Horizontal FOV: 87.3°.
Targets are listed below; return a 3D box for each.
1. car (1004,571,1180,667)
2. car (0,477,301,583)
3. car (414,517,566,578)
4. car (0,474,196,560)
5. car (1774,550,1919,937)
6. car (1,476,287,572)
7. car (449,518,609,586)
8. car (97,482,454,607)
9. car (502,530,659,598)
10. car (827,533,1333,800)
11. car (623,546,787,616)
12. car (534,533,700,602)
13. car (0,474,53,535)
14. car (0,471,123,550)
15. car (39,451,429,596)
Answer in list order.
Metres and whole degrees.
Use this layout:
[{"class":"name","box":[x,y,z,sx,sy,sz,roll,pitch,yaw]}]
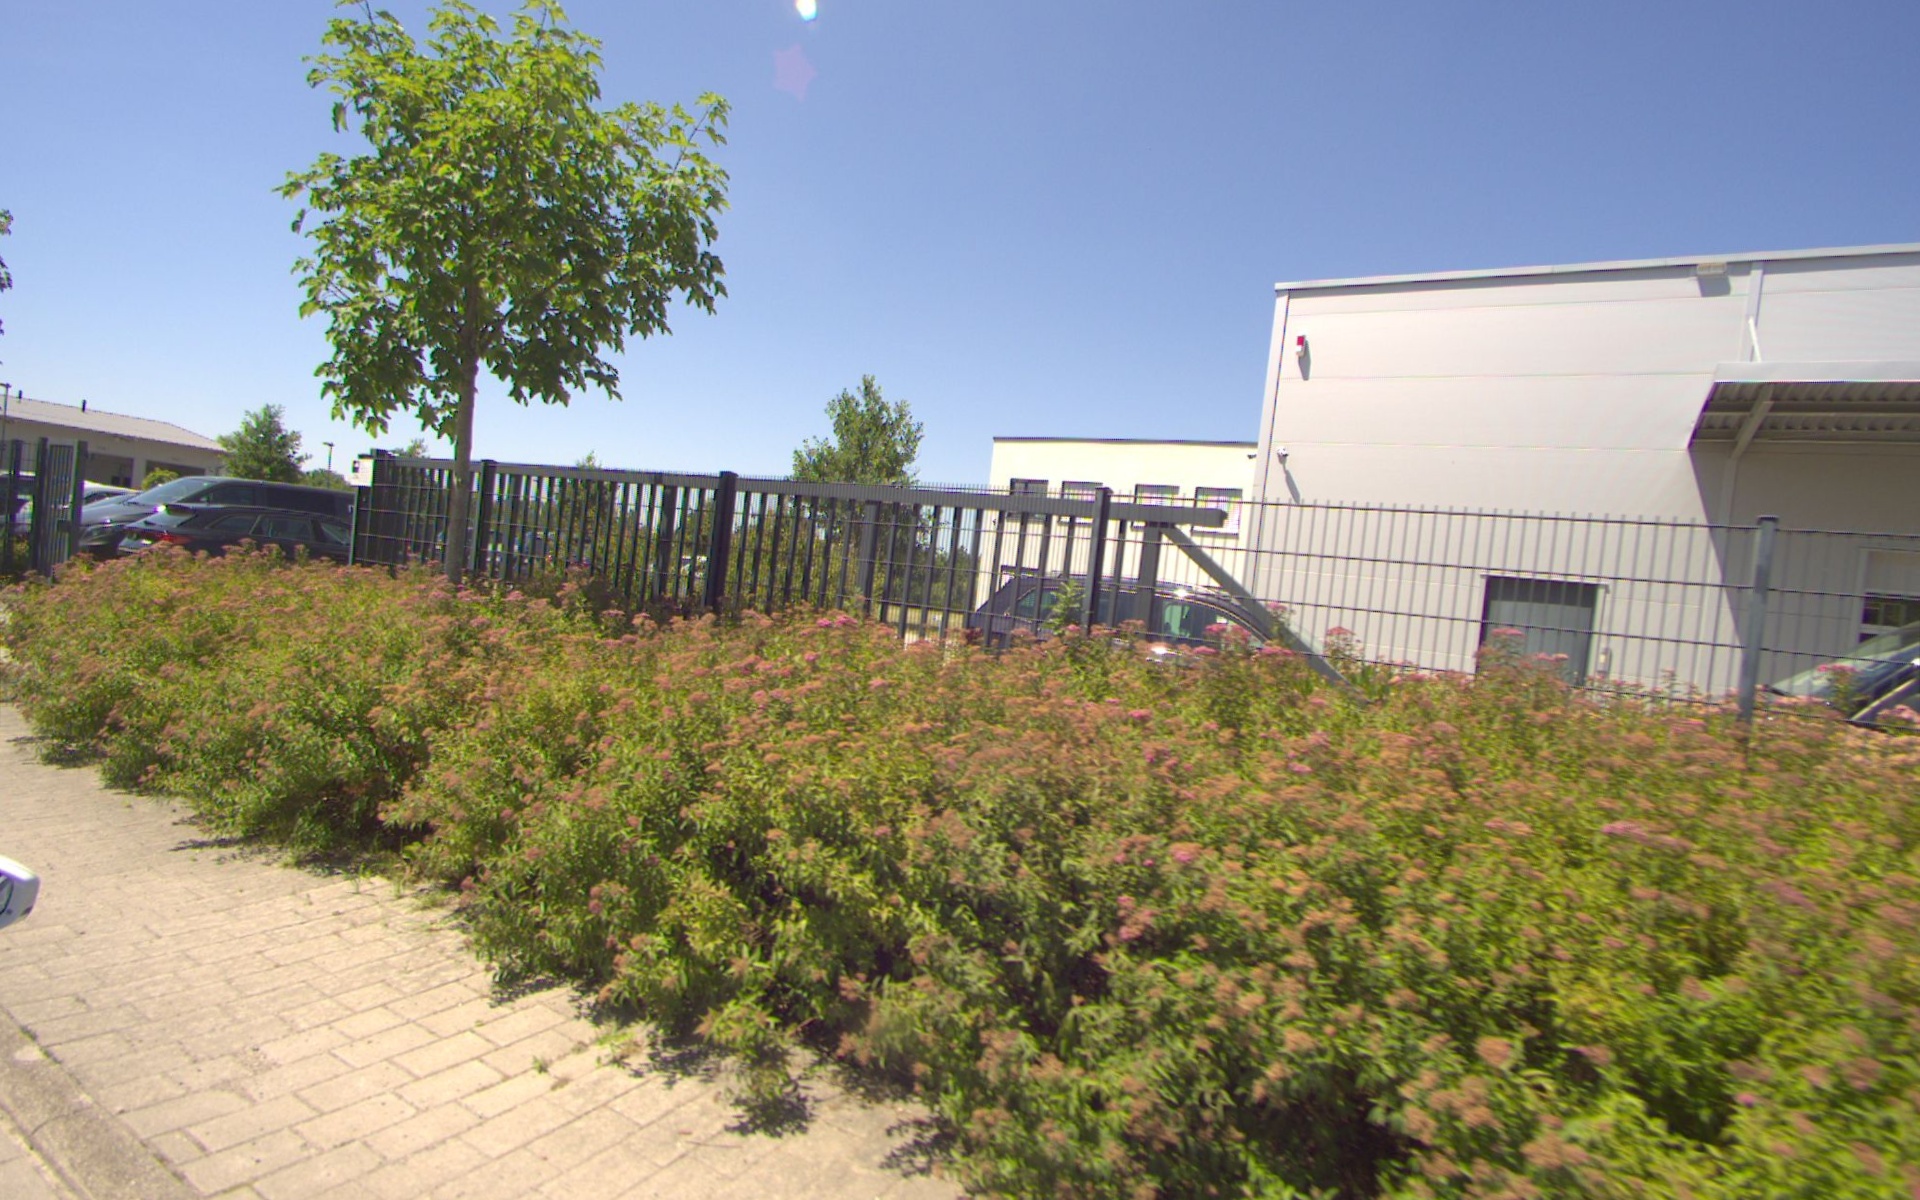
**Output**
[{"class":"car","box":[2.679,0.412,19.553,1.820,1.505,3.990,7,1,31]},{"class":"car","box":[-14.891,-1.232,18.483,1.576,1.468,4.347,7,2,31]},{"class":"car","box":[-14.918,-1.639,32.164,1.746,1.467,4.043,7,1,31]},{"class":"car","box":[-19.122,-1.813,21.815,1.617,1.440,3.667,7,1,31]},{"class":"car","box":[7.312,1.022,5.394,4.156,2.114,1.877,7,3,32]},{"class":"car","box":[-16.866,-1.530,21.033,1.726,1.463,4.281,7,2,31]},{"class":"car","box":[-12.976,-1.420,30.539,1.886,1.572,4.043,7,1,31]},{"class":"car","box":[-10.446,-0.777,15.706,1.735,1.440,4.218,7,1,31]},{"class":"car","box":[-10.880,-1.013,29.085,1.738,1.523,3.873,7,1,34]},{"class":"car","box":[0.913,0.424,8.469,3.815,1.576,1.543,7,1,32]},{"class":"car","box":[-6.531,-0.462,26.131,1.738,1.421,3.873,7,1,34]},{"class":"car","box":[-9.139,-0.839,27.078,1.738,1.421,3.873,7,1,34]},{"class":"car","box":[-26.696,-2.710,26.282,1.886,1.523,4.043,7,1,31]},{"class":"car","box":[-21.786,-2.151,22.737,1.792,1.541,3.990,7,1,31]},{"class":"car","box":[-12.316,-1.208,17.512,1.871,1.898,5.115,7,2,31]}]
